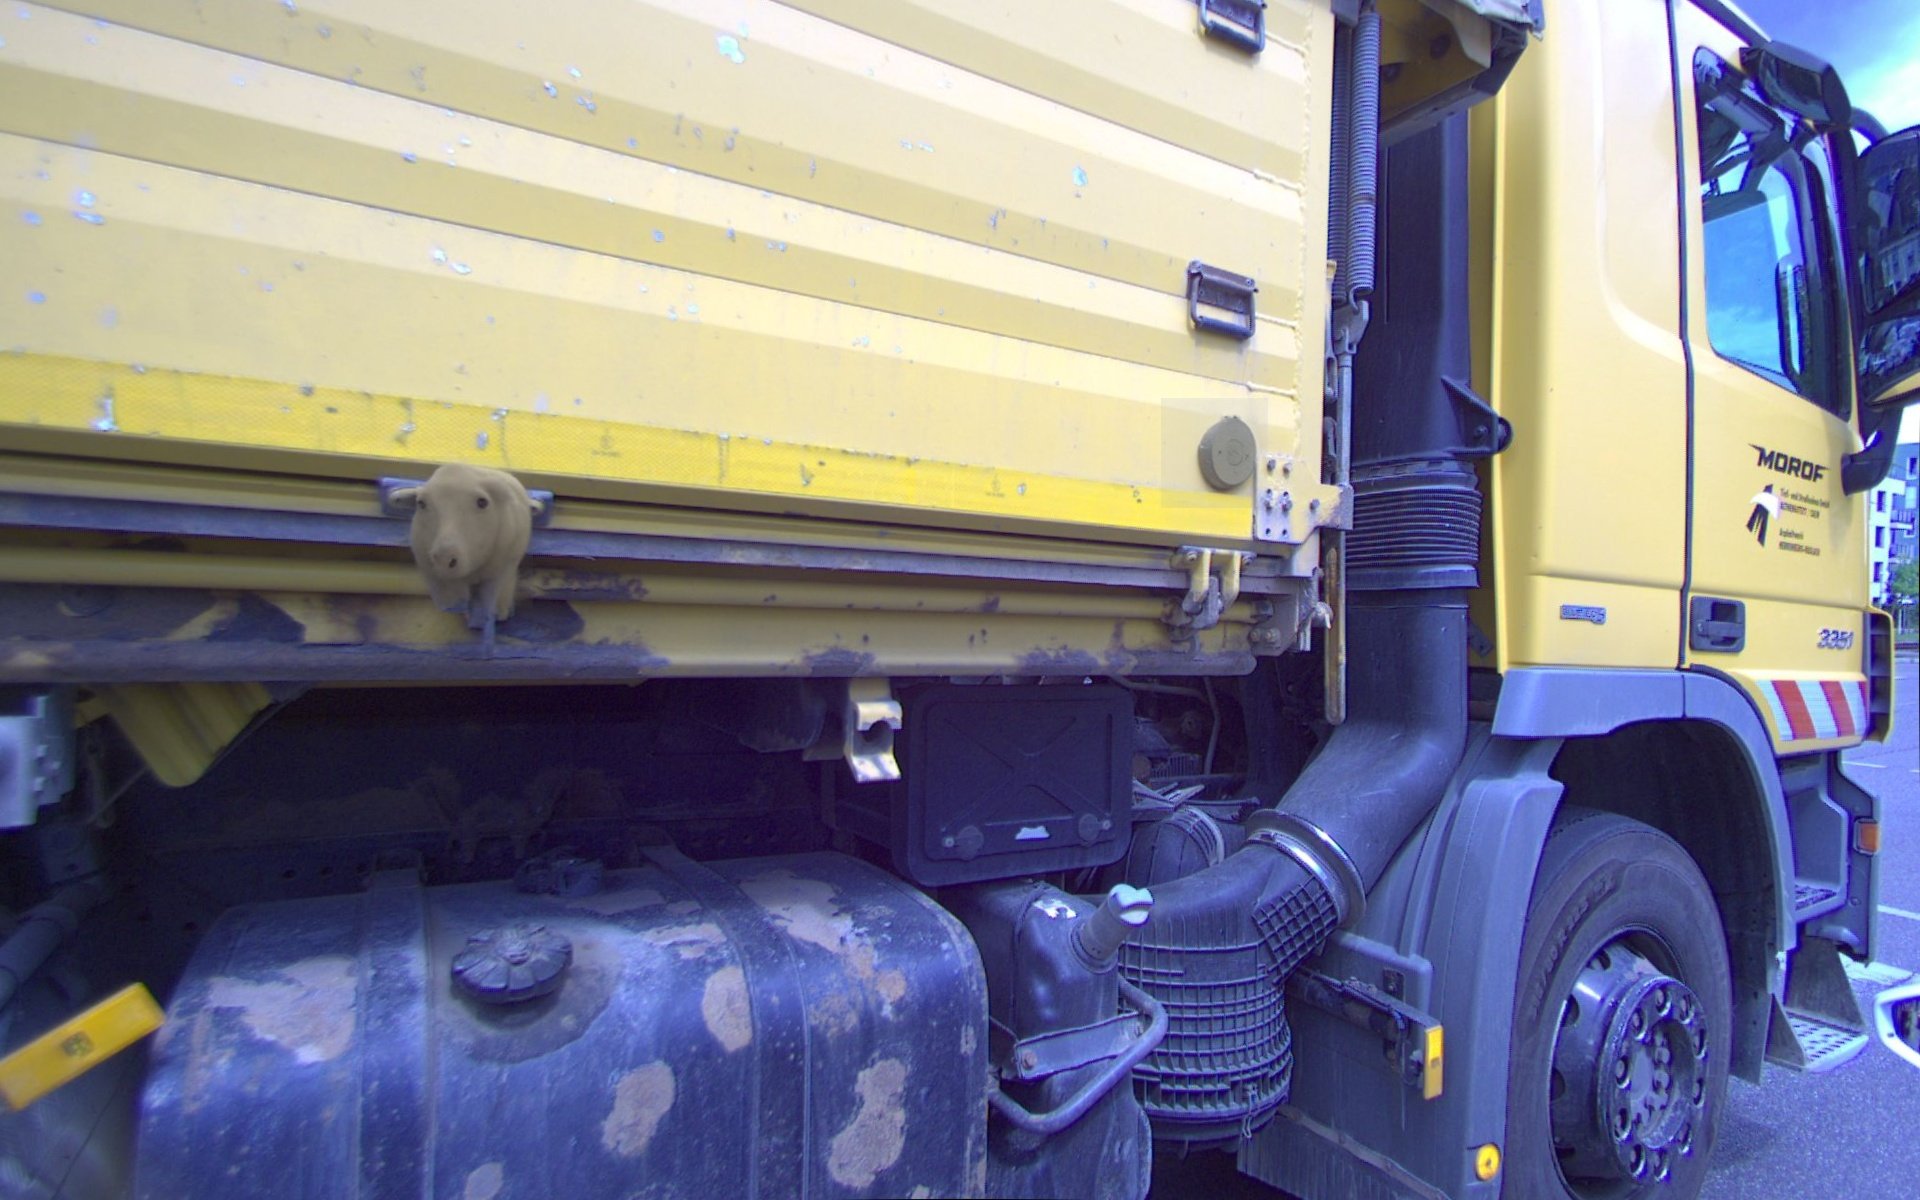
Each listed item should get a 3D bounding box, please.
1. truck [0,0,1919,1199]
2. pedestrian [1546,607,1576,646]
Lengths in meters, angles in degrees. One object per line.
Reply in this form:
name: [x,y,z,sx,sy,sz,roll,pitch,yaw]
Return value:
truck: [-1.269,-0.257,1.916,7.916,3.439,3.033,1,0,-32]
pedestrian: [24.349,1.062,40.709,0.628,1.536,0.827,1,0,-30]
